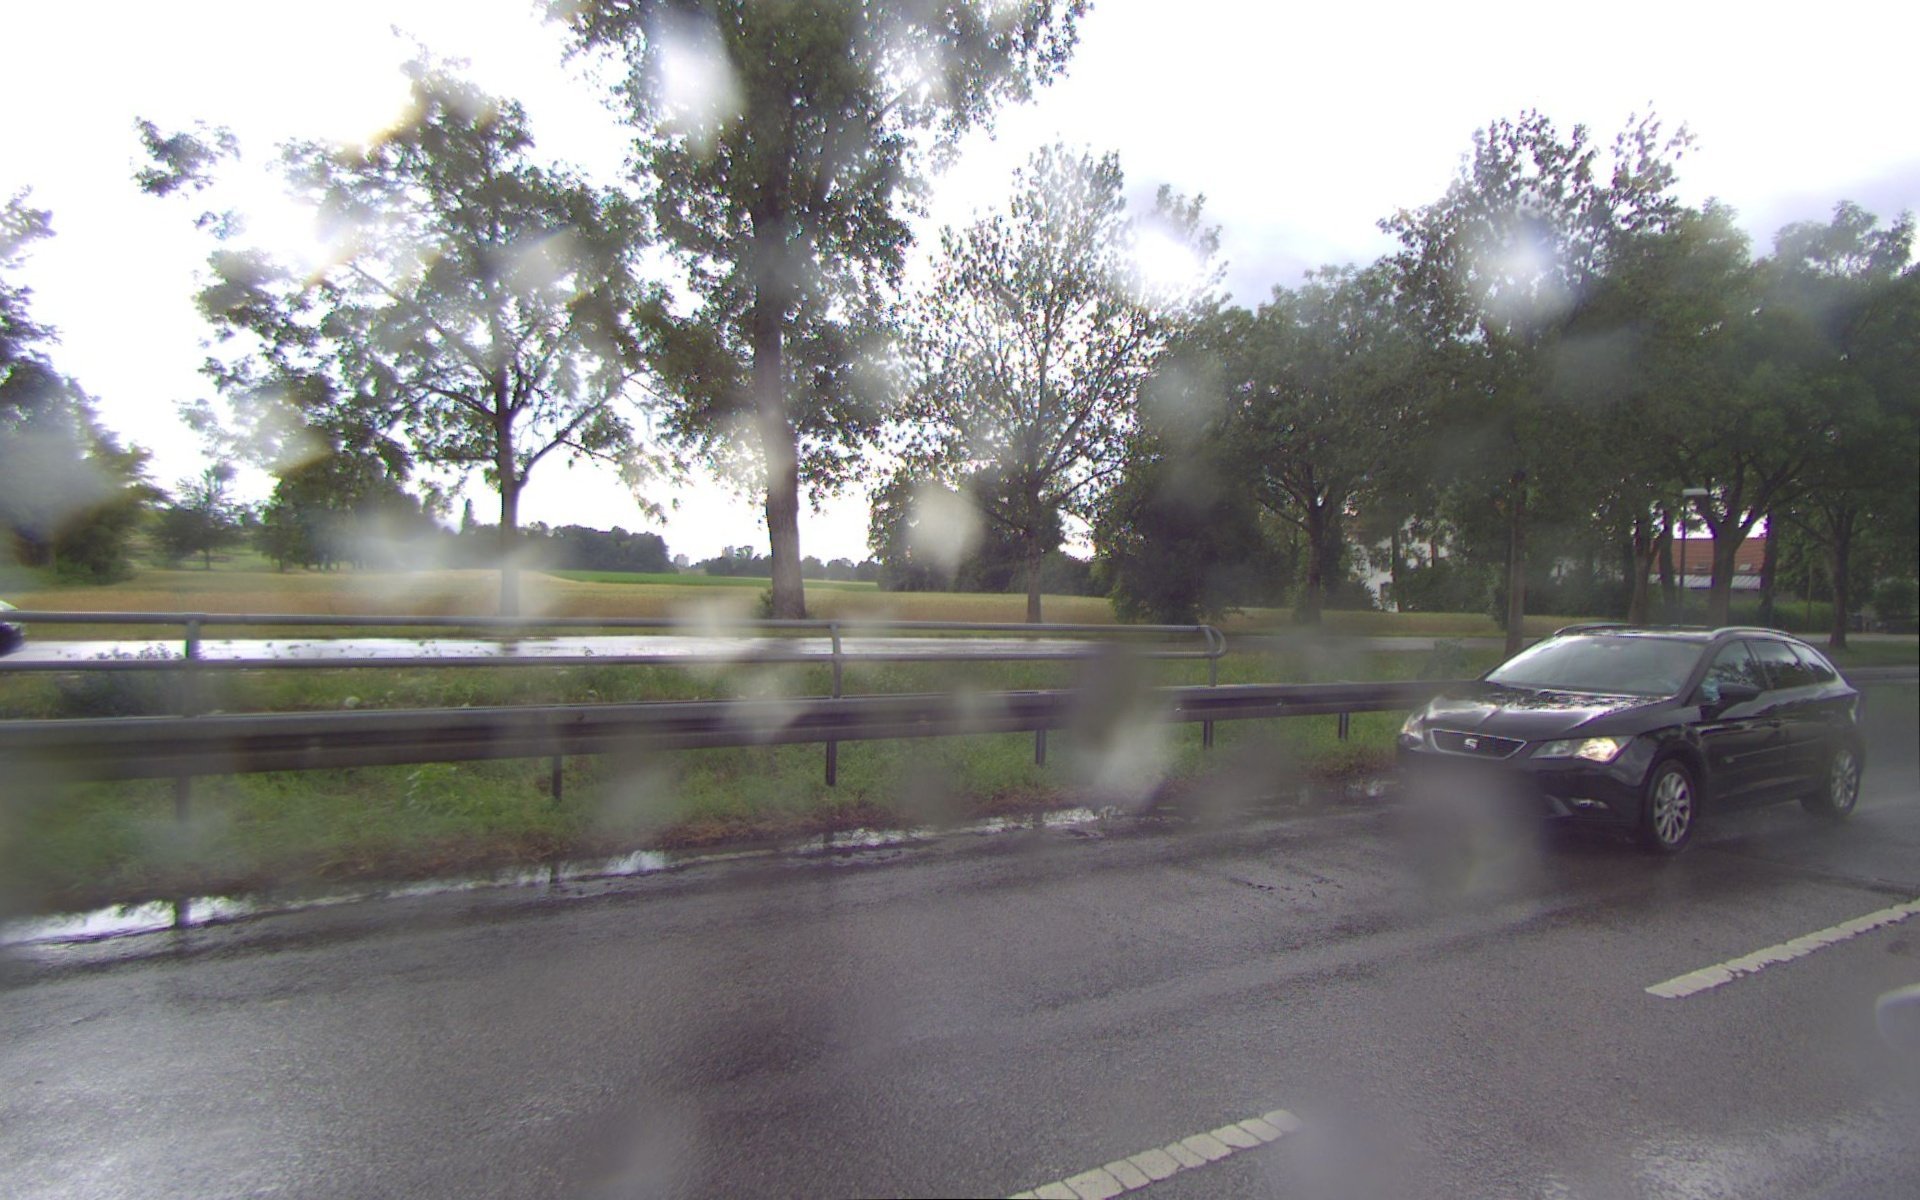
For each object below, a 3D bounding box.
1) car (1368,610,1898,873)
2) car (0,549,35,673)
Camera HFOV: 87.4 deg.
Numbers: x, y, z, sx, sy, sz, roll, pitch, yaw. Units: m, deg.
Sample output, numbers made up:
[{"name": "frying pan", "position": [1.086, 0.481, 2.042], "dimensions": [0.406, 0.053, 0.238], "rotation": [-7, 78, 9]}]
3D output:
[{"name": "car", "position": [5.120, 0.858, 7.526], "dimensions": [4.063, 1.470, 1.706], "rotation": [1, 0, -31]}, {"name": "car", "position": [-12.347, 0.083, 10.430], "dimensions": [3.858, 1.348, 1.274], "rotation": [1, 0, -35]}]
